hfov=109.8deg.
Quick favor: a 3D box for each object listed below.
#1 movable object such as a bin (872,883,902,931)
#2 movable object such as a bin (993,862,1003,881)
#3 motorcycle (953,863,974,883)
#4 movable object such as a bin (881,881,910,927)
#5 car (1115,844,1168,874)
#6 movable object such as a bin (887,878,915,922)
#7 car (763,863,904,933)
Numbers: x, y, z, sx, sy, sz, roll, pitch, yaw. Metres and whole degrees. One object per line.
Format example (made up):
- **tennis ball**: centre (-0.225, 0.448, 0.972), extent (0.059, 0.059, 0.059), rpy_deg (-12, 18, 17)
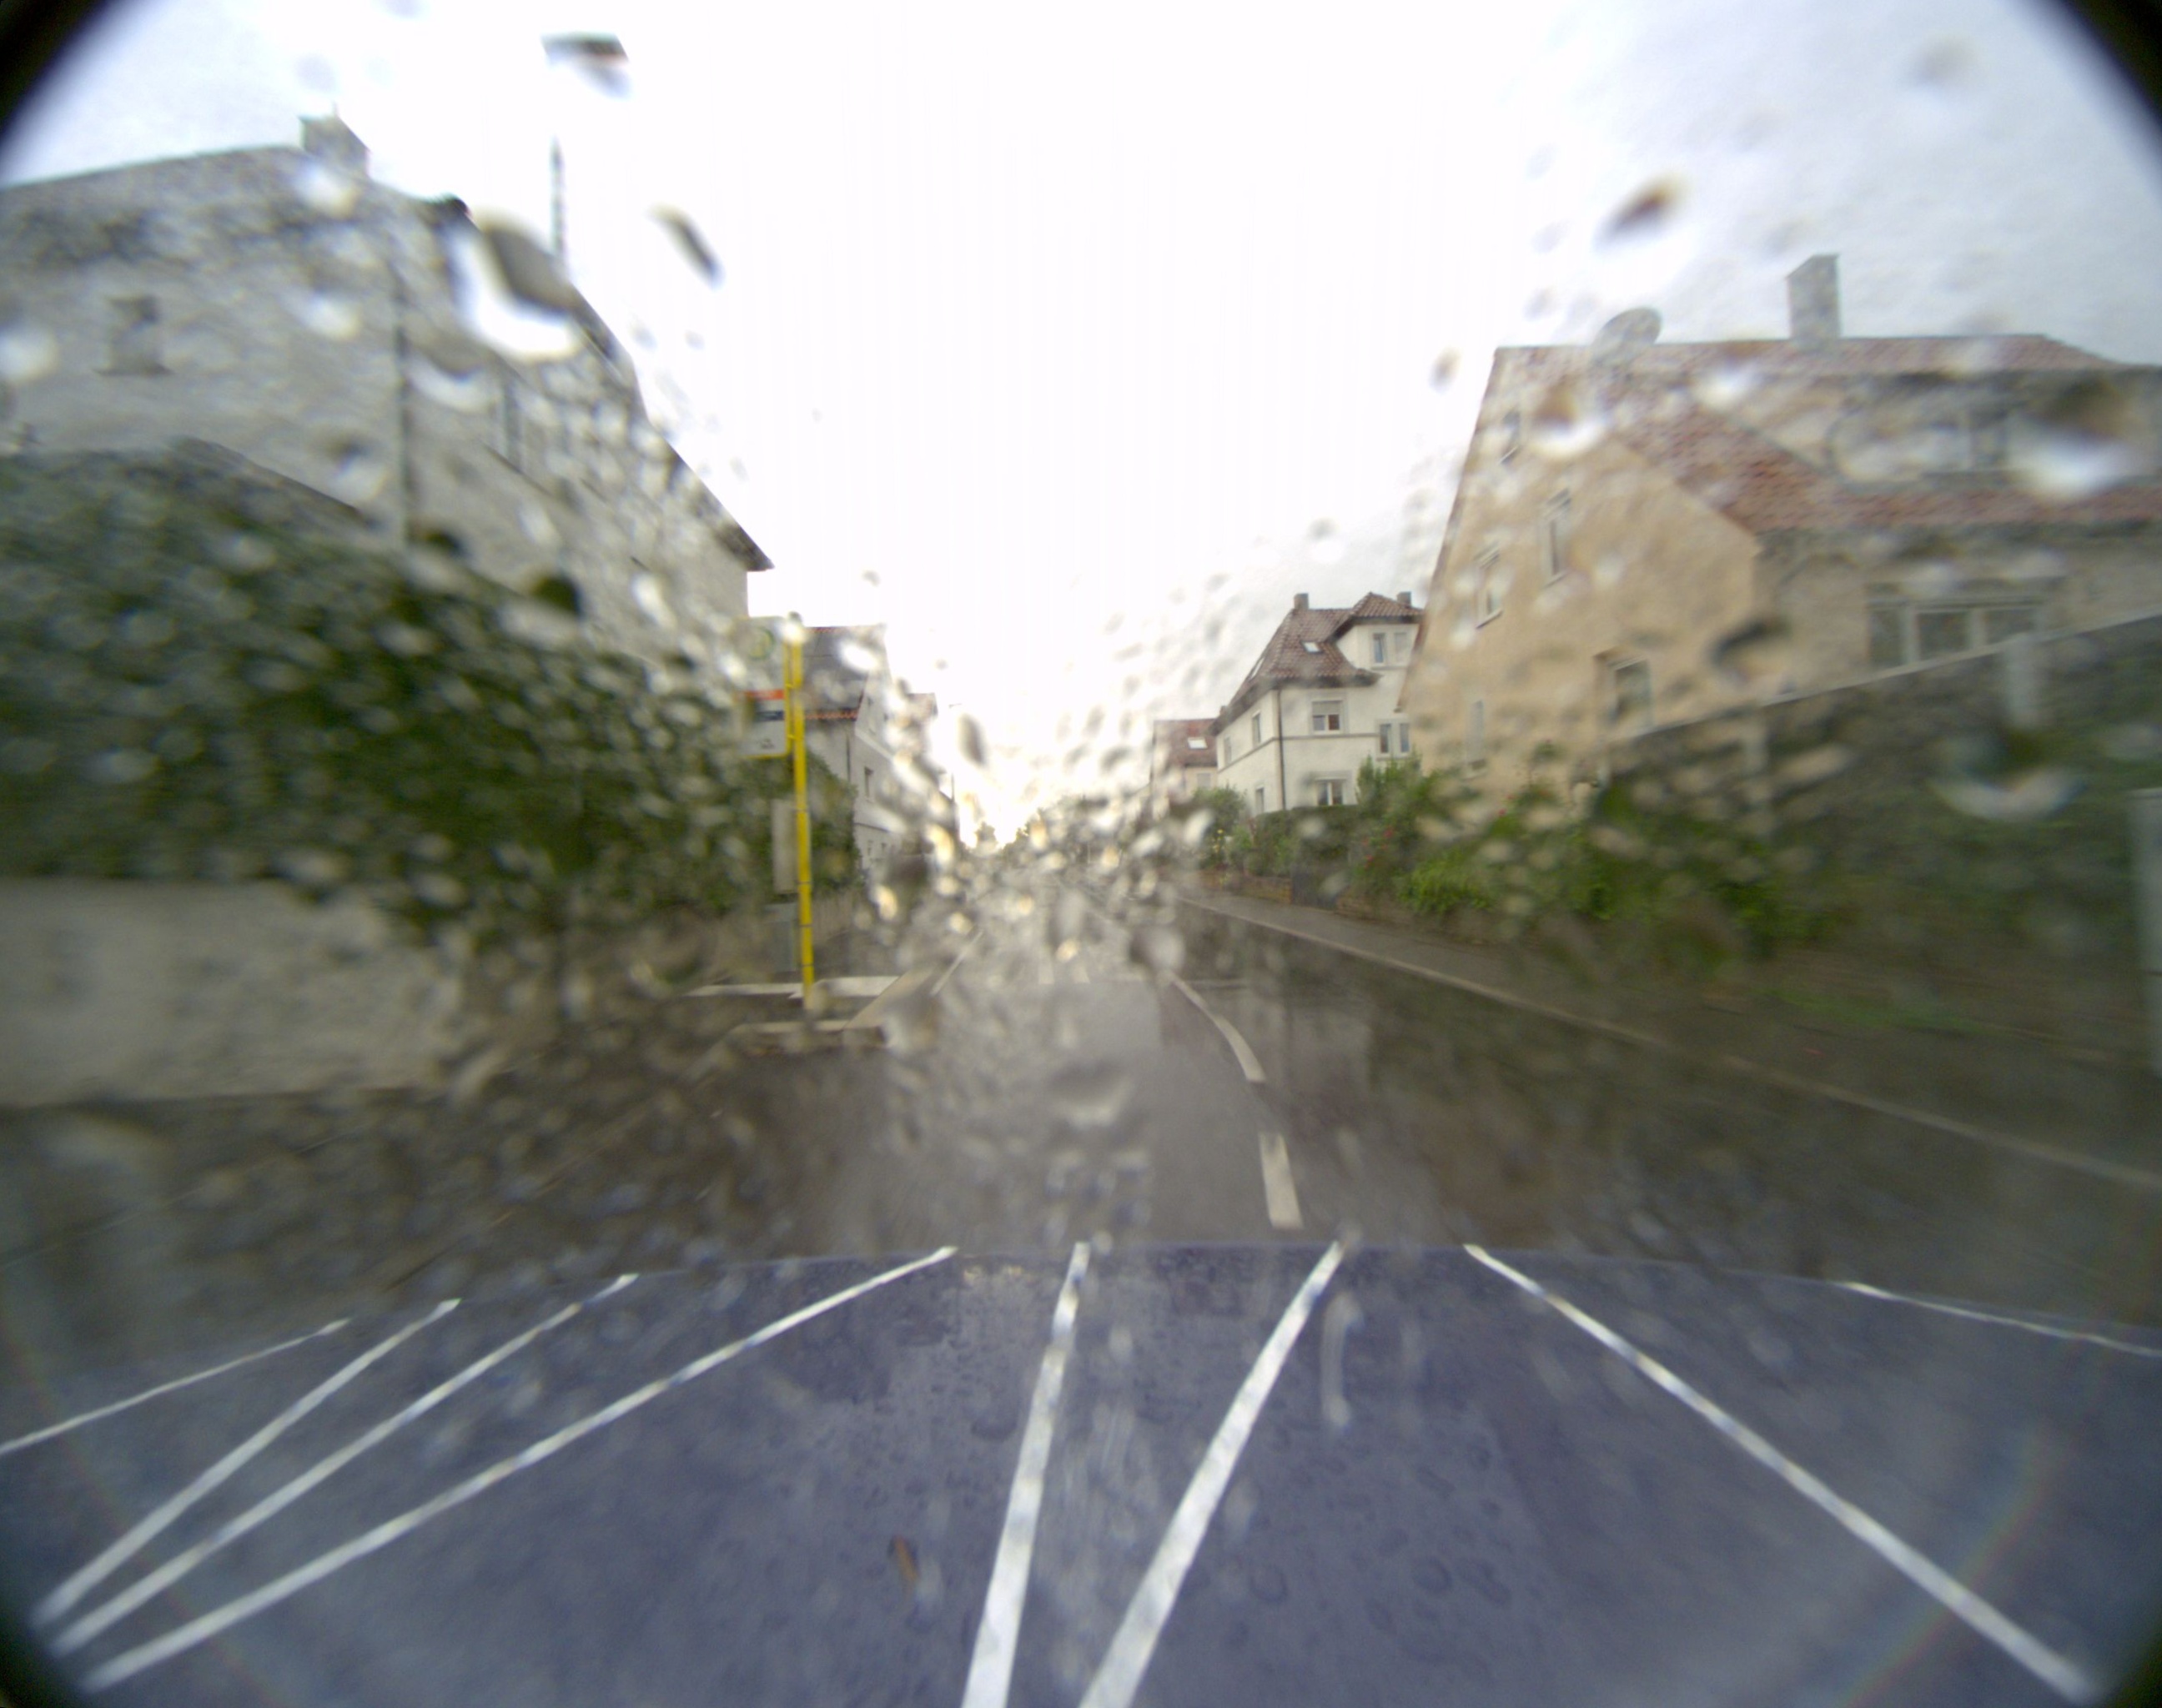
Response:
- **movable object such as a bin**: centre (-4.555, 1.237, 17.895), extent (0.569, 1.070, 0.523), rpy_deg (-2, 1, -5)
- **movable object such as a bin**: centre (-5.068, 1.070, 46.322), extent (0.569, 1.179, 0.537), rpy_deg (-1, 1, -5)
- **motorcycle**: centre (-6.287, 1.003, 40.542), extent (0.557, 1.007, 1.147), rpy_deg (-2, 2, -42)
- **movable object such as a bin**: centre (-4.533, 1.226, 18.620), extent (0.569, 1.070, 0.537), rpy_deg (-2, 1, -5)
- **car**: centre (5.238, 0.438, 66.140), extent (4.000, 1.963, 1.873), rpy_deg (10, -1, -6)
- **movable object such as a bin**: centre (-4.553, 1.164, 19.280), extent (0.569, 1.070, 0.537), rpy_deg (-2, 1, -5)
- **car**: centre (-7.162, 1.241, 22.222), extent (3.454, 1.473, 1.580), rpy_deg (-8, 1, -3)
